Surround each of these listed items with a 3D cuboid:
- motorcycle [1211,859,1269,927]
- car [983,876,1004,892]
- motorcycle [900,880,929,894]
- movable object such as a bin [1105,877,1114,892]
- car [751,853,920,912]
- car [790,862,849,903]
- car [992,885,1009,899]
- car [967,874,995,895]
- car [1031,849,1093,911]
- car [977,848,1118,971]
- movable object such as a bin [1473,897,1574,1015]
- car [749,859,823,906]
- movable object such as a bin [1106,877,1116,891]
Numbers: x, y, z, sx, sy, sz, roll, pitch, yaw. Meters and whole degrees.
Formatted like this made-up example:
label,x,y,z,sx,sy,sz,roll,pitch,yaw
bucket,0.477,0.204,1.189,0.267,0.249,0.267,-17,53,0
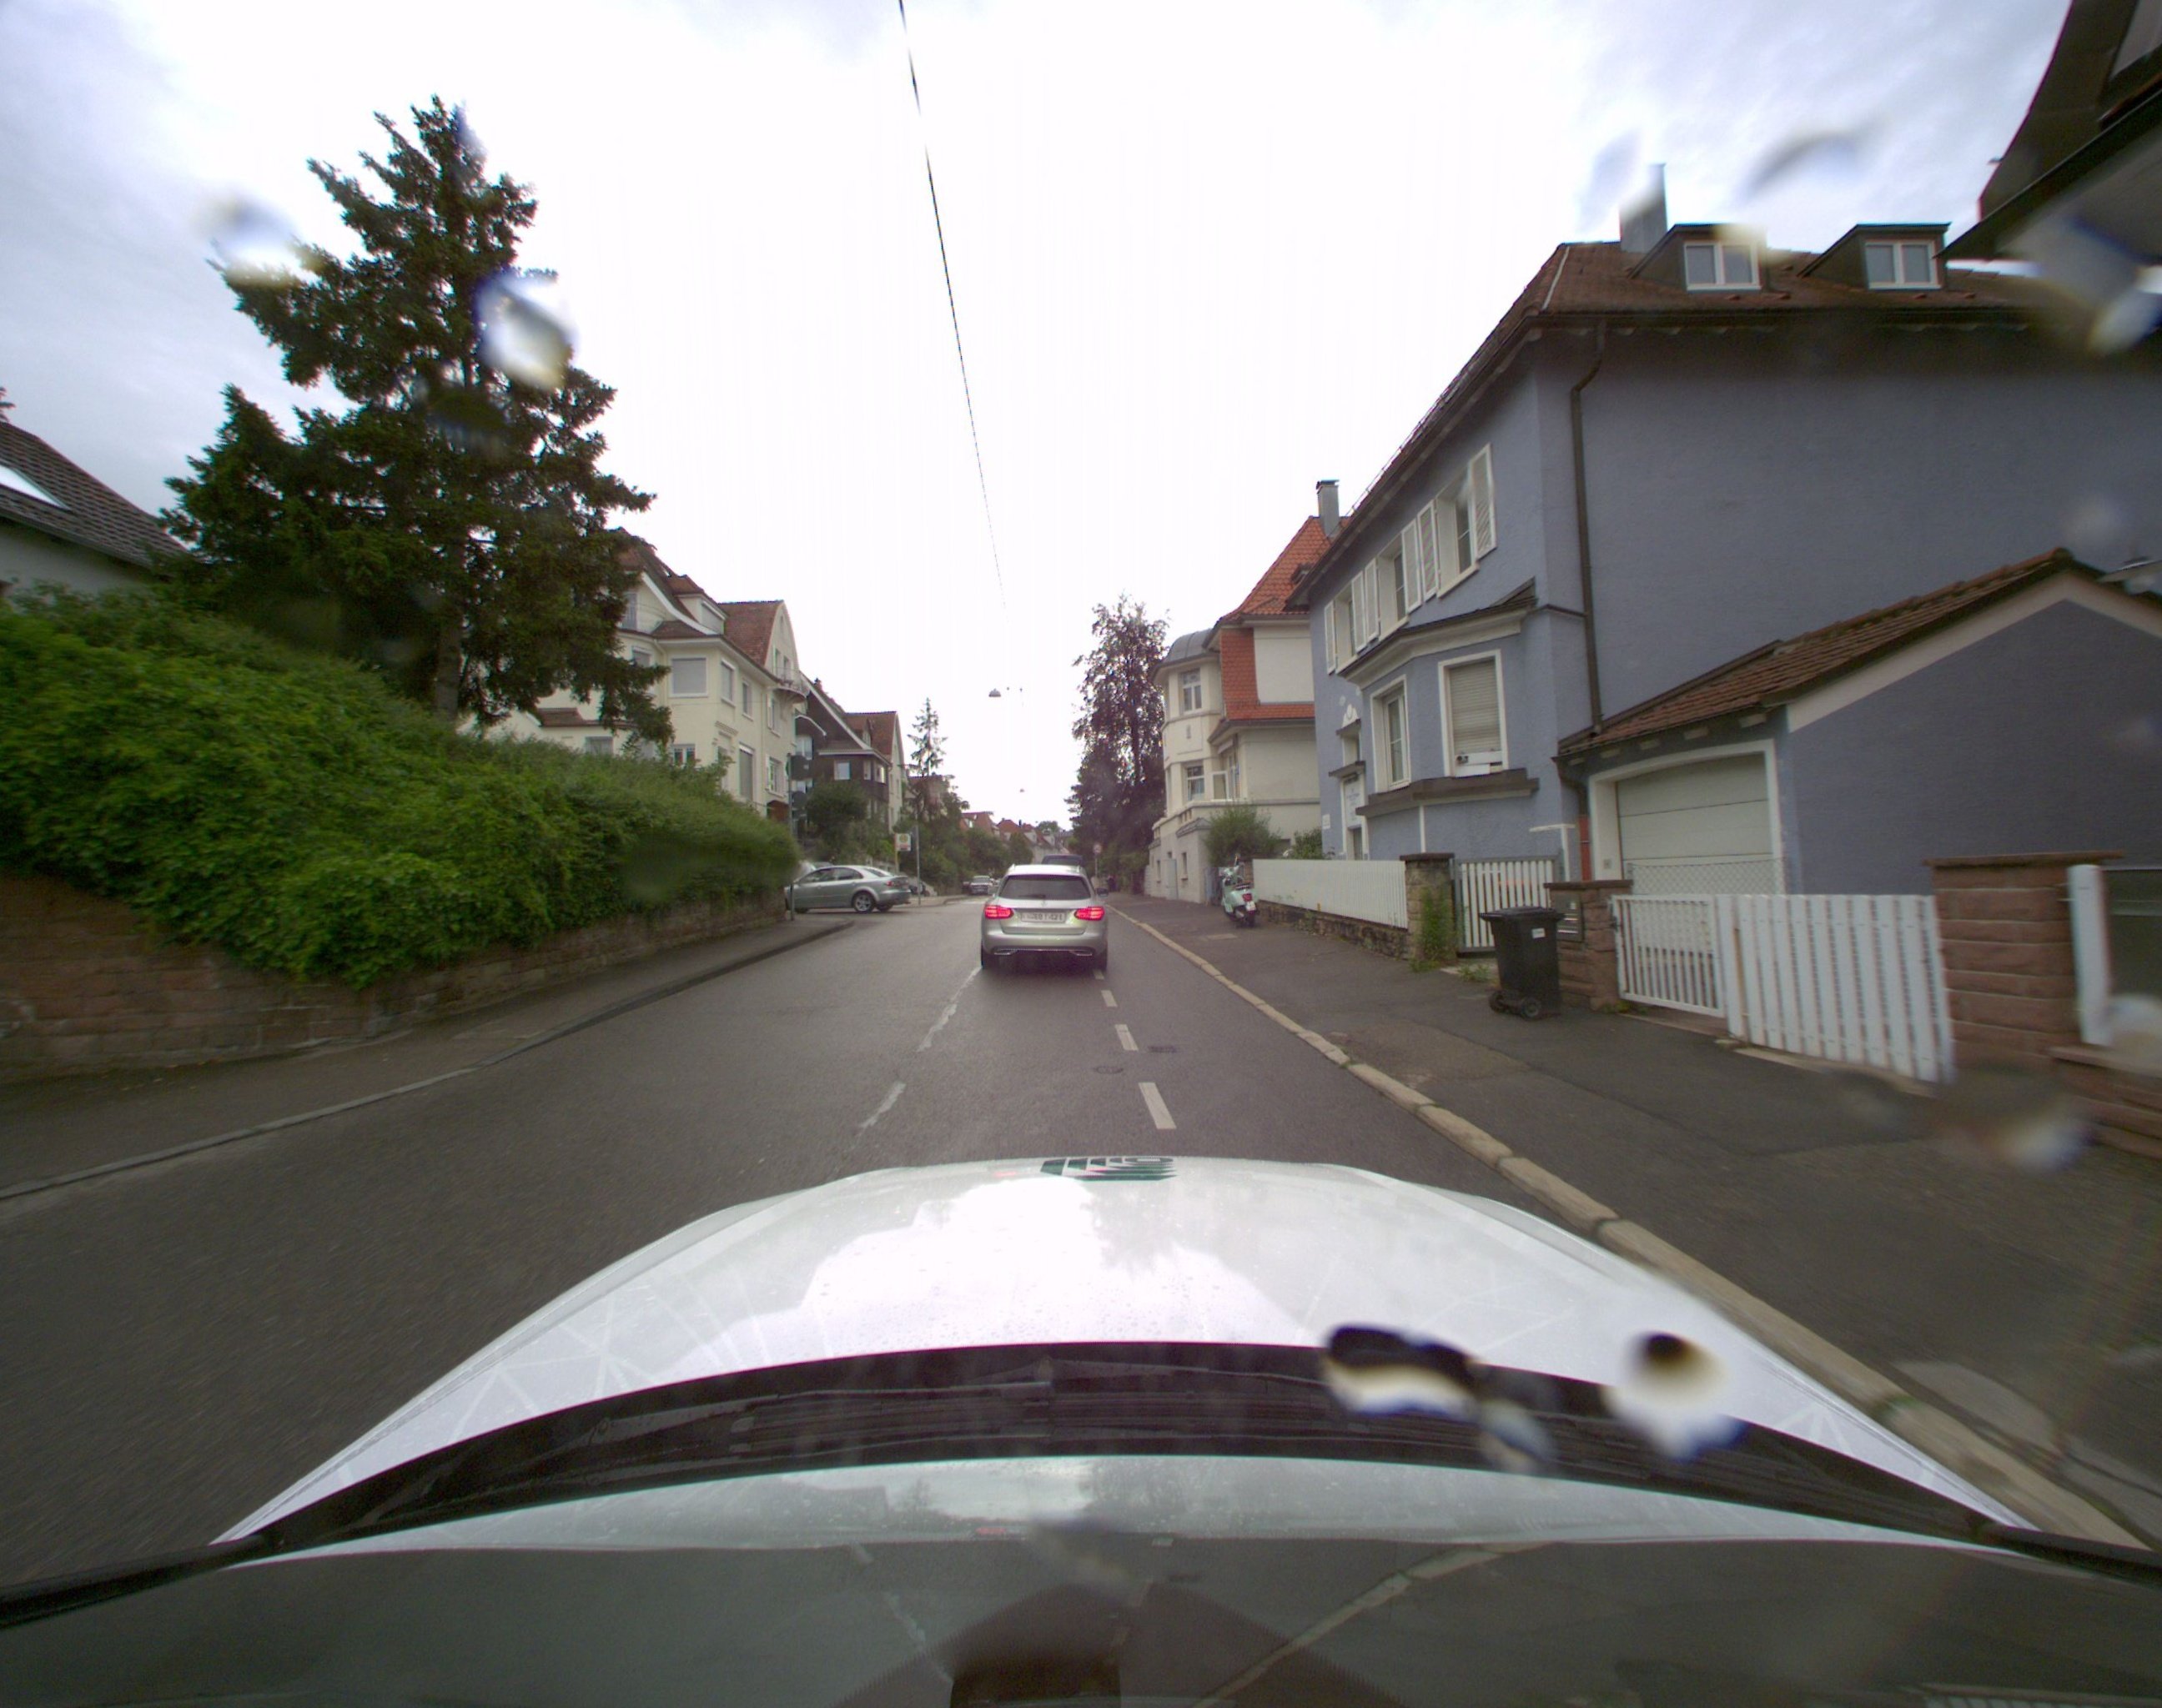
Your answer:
label,x,y,z,sx,sy,sz,roll,pitch,yaw
motorcycle,3.253,0.772,16.829,0.690,1.226,2.154,-8,-1,2
car,-8.593,2.920,80.006,1.752,1.447,4.411,-1,-1,-3
motorcycle,-10.844,2.170,53.022,1.790,0.903,0.602,1,-3,-4
movable object such as a bin,1.908,2.054,54.698,0.493,0.956,0.502,-1,-1,-5
car,-7.227,0.830,24.239,4.344,1.557,1.825,2,-1,5
car,-11.607,1.226,36.415,1.764,1.696,3.990,-1,-1,-7
car,-8.993,4.270,91.233,1.690,1.447,3.810,-1,-3,-2
car,-7.922,2.454,65.059,1.889,1.623,4.373,-1,-2,-3
car,-0.568,0.902,27.095,1.836,1.904,4.000,-1,-3,1
car,-0.498,0.740,12.454,1.812,1.556,3.996,0,-1,-2
movable object such as a bin,3.802,0.863,7.027,0.531,0.918,0.487,-4,-1,-5
car,-11.141,1.048,31.023,1.764,1.618,3.990,-1,-1,-7
movable object such as a bin,1.991,1.997,54.161,0.650,0.856,0.502,-1,-1,-5
